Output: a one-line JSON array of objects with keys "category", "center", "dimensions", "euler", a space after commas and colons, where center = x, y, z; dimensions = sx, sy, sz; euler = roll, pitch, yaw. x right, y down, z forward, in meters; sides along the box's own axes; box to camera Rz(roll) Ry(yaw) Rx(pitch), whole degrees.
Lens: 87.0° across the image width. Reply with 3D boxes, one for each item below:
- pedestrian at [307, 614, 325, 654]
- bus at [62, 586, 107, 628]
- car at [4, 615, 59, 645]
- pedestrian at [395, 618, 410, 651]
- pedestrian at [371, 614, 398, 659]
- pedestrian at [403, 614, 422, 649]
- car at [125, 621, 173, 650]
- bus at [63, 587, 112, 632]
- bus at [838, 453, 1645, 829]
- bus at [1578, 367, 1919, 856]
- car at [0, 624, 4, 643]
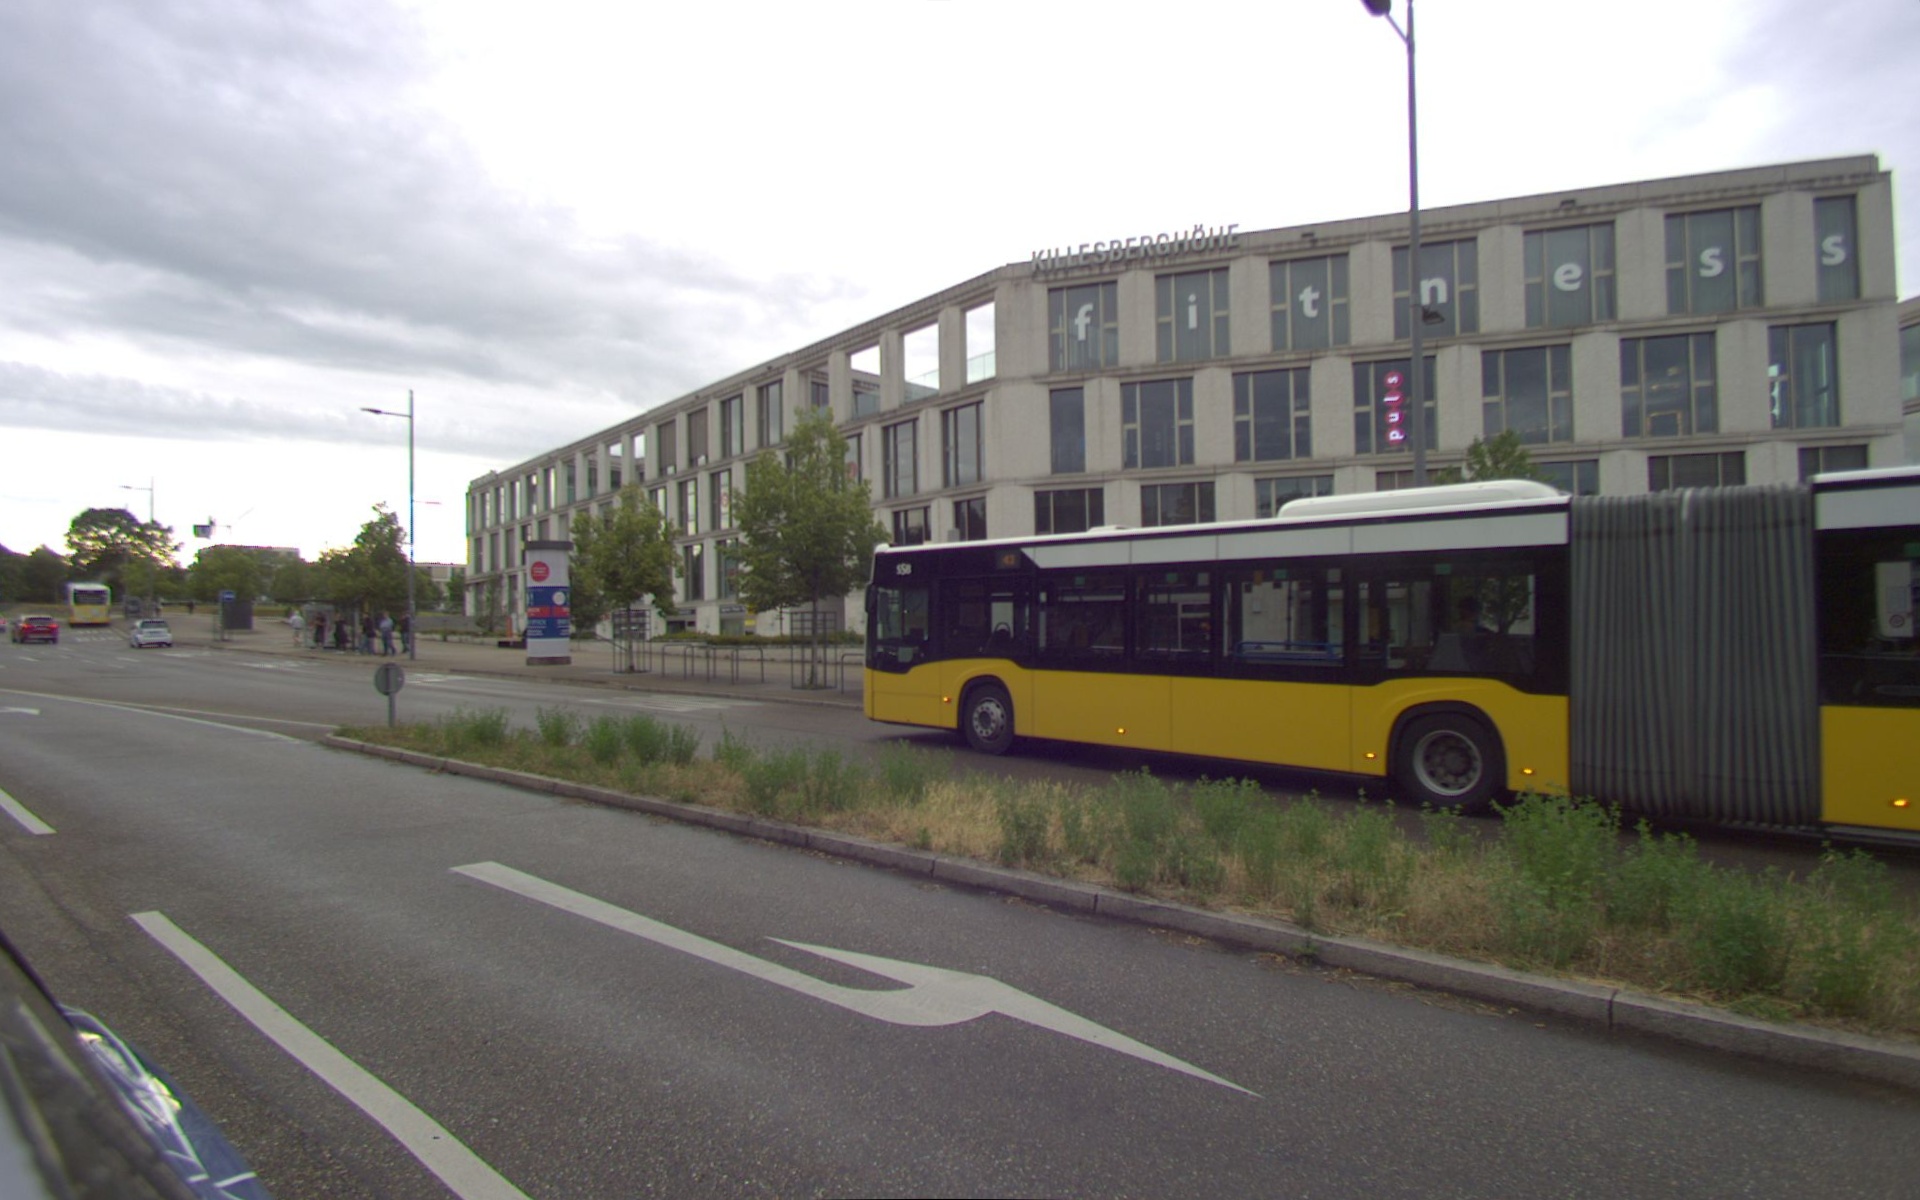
[{"category": "pedestrian", "center": [-30.096, 1.587, 47.271], "dimensions": [0.755, 1.856, 0.502], "euler": [-1, -1, 40]}, {"category": "bus", "center": [-78.482, 0.520, 90.606], "dimensions": [2.787, 3.498, 9.987], "euler": [-1, 2, -42]}, {"category": "car", "center": [-56.436, 1.813, 61.493], "dimensions": [4.734, 1.696, 1.834], "euler": [-1, -4, 41]}, {"category": "pedestrian", "center": [-25.017, 1.554, 45.427], "dimensions": [0.510, 1.462, 0.422], "euler": [-1, -1, 41]}, {"category": "pedestrian", "center": [-23.845, 1.494, 41.930], "dimensions": [0.746, 1.856, 0.745], "euler": [-1, -1, 43]}, {"category": "pedestrian", "center": [-27.931, 1.598, 51.661], "dimensions": [0.857, 1.775, 0.592], "euler": [-1, -1, 43]}, {"category": "car", "center": [-45.755, 1.992, 57.074], "dimensions": [2.971, 1.519, 1.597], "euler": [0, 1, 41]}, {"category": "bus", "center": [-72.347, 0.706, 83.863], "dimensions": [2.787, 3.498, 8.242], "euler": [-1, 2, -42]}, {"category": "bus", "center": [2.609, 0.430, 12.891], "dimensions": [9.761, 3.127, 2.855], "euler": [-1, -2, 45]}, {"category": "bus", "center": [9.145, 0.060, 6.333], "dimensions": [8.579, 3.333, 2.855], "euler": [-1, -2, 45]}, {"category": "car", "center": [-71.980, 2.441, 74.628], "dimensions": [3.876, 1.427, 1.744], "euler": [-1, -4, 41]}]
